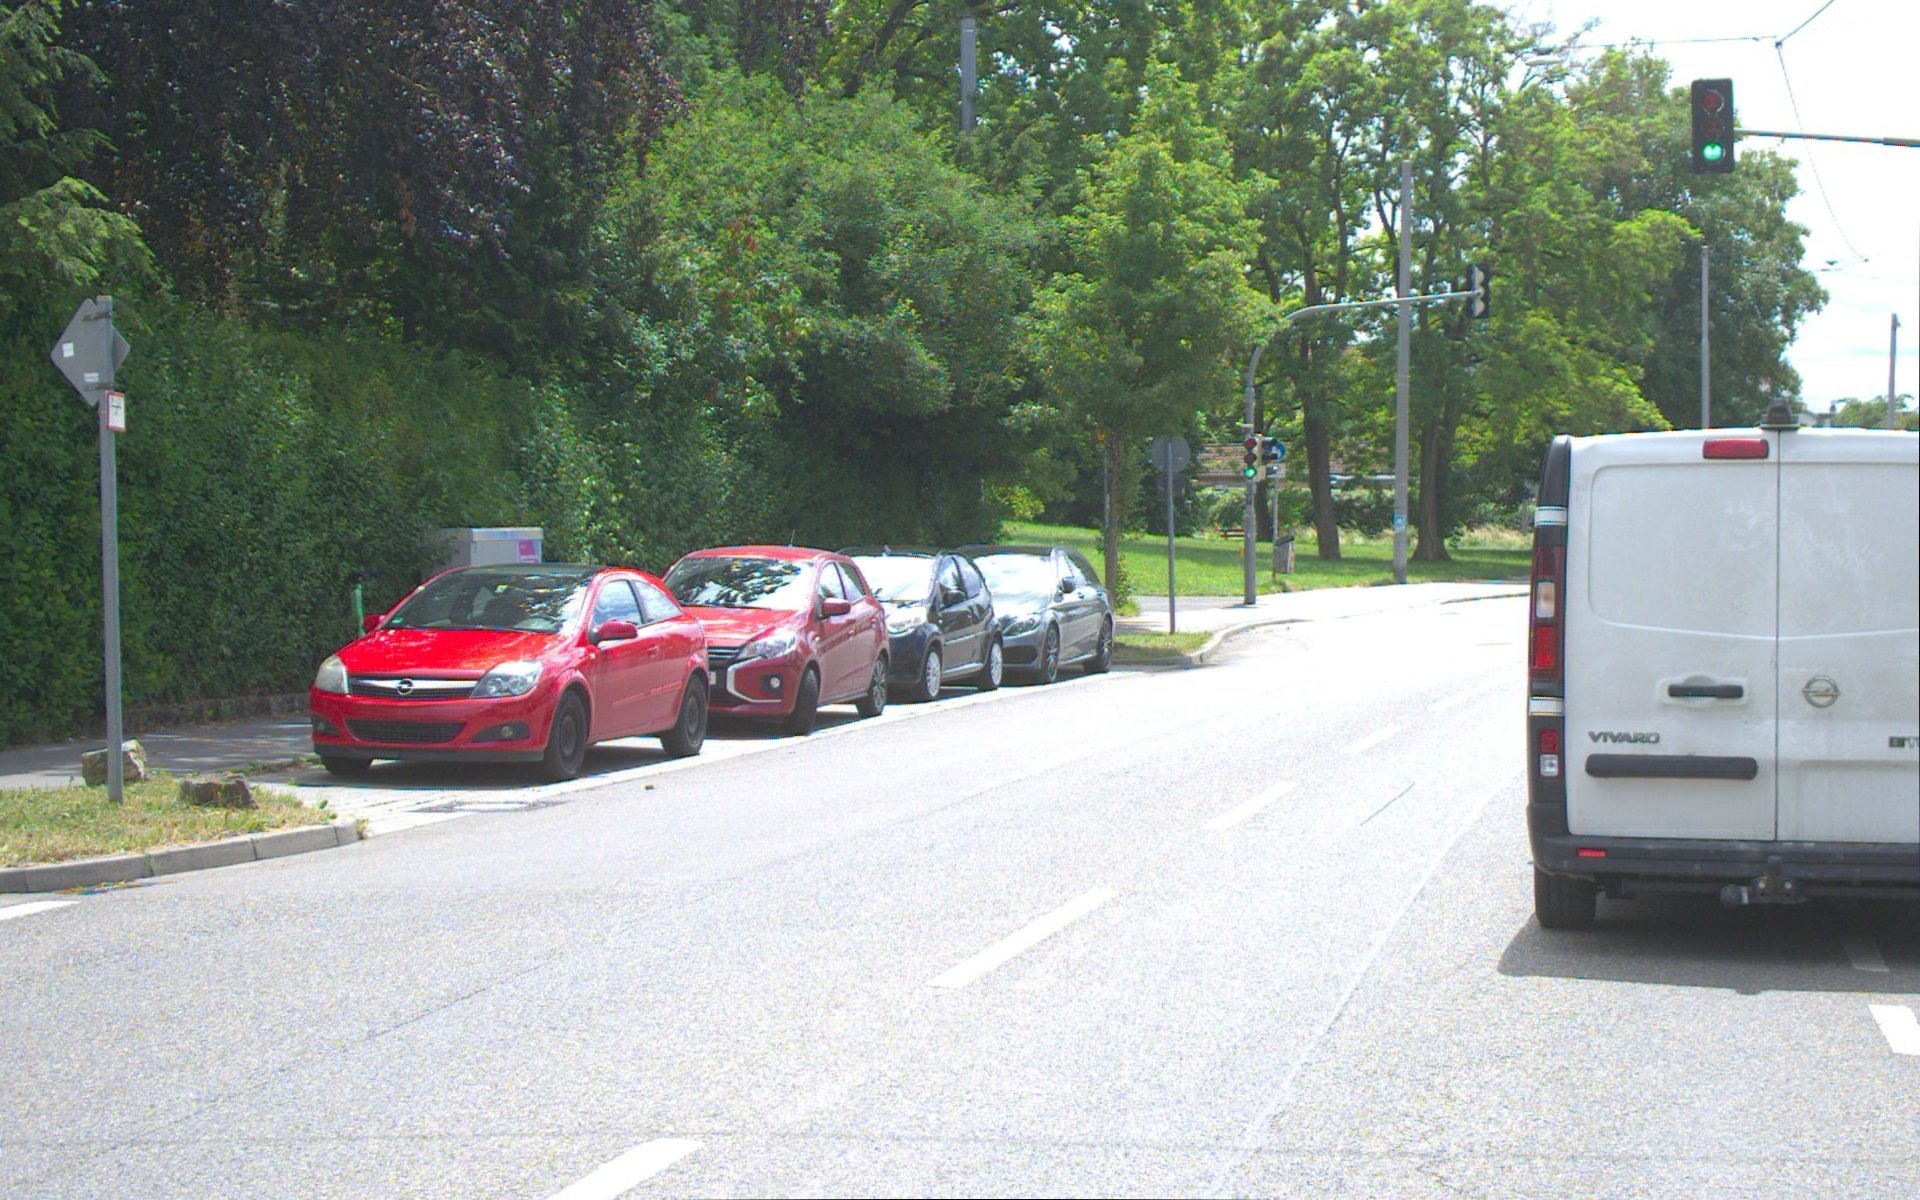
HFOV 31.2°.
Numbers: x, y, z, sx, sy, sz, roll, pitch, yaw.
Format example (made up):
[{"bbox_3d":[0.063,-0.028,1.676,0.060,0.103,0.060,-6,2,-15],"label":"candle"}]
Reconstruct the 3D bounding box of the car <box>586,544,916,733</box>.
[{"bbox_3d":[-1.680,0.267,29.082,1.650,1.445,4.103,1,1,13],"label":"car"}]

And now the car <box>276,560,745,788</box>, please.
[{"bbox_3d":[-2.992,0.435,23.947,1.661,1.373,4.563,1,1,14],"label":"car"}]

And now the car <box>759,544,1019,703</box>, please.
[{"bbox_3d":[-0.638,0.184,33.839,1.596,1.445,3.593,1,1,15],"label":"car"}]

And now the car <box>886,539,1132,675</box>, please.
[{"bbox_3d":[0.611,0.024,37.960,1.696,1.361,4.683,1,1,14],"label":"car"}]

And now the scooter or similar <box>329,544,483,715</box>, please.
[{"bbox_3d":[-4.734,0.230,29.482,0.671,1.407,1.648,1,2,16],"label":"scooter or similar"}]

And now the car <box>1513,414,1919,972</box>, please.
[{"bbox_3d":[3.563,0.272,14.477,1.940,1.954,4.830,1,1,15],"label":"car"}]
